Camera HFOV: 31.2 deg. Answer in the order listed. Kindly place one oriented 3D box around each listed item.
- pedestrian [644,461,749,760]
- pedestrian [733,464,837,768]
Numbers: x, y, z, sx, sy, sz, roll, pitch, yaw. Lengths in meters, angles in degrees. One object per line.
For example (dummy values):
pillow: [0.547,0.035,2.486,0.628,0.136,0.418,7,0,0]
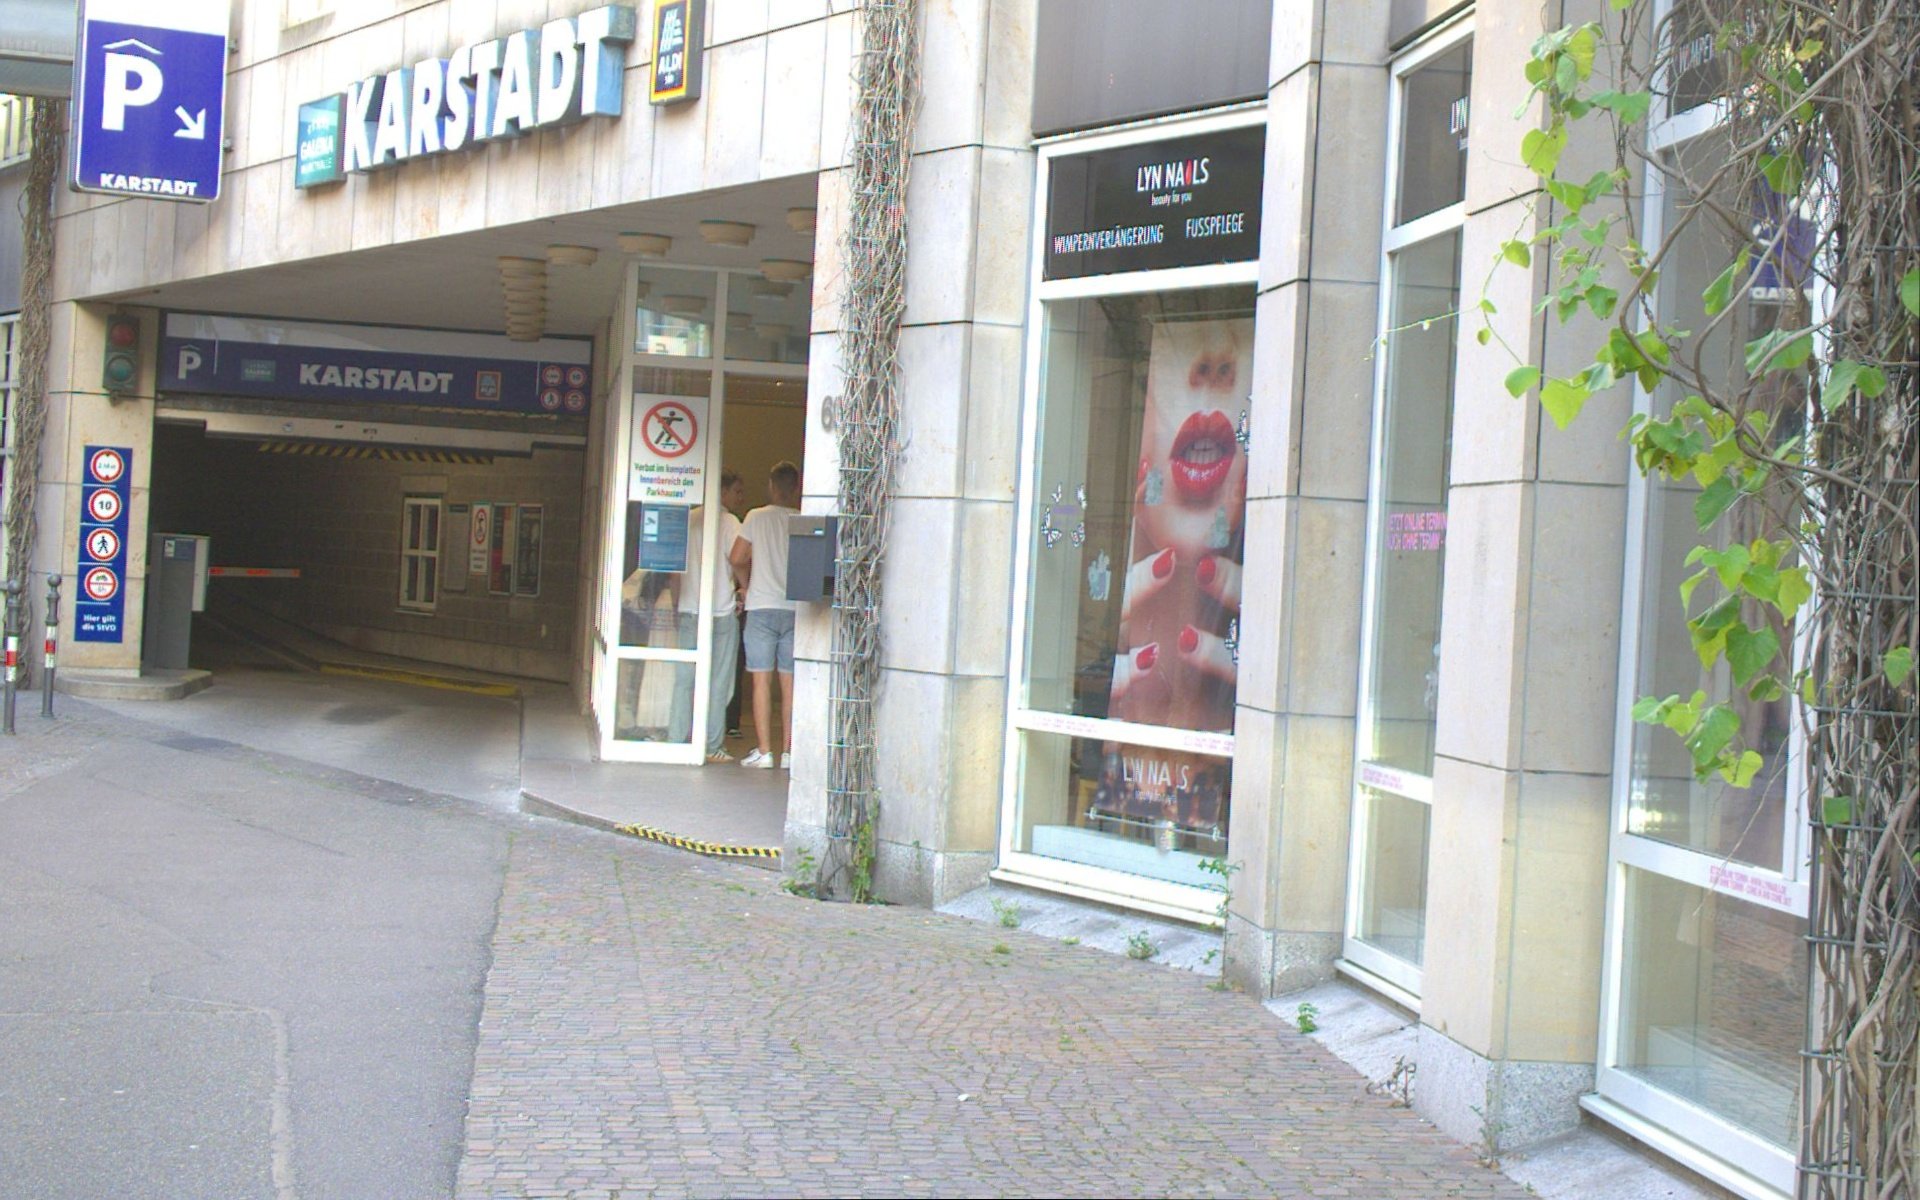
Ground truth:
pedestrian: [-1.654,0.061,21.629,0.542,1.840,0.408,3,1,-1]
pedestrian: [-1.090,0.096,21.464,0.542,1.855,0.408,3,1,-1]
